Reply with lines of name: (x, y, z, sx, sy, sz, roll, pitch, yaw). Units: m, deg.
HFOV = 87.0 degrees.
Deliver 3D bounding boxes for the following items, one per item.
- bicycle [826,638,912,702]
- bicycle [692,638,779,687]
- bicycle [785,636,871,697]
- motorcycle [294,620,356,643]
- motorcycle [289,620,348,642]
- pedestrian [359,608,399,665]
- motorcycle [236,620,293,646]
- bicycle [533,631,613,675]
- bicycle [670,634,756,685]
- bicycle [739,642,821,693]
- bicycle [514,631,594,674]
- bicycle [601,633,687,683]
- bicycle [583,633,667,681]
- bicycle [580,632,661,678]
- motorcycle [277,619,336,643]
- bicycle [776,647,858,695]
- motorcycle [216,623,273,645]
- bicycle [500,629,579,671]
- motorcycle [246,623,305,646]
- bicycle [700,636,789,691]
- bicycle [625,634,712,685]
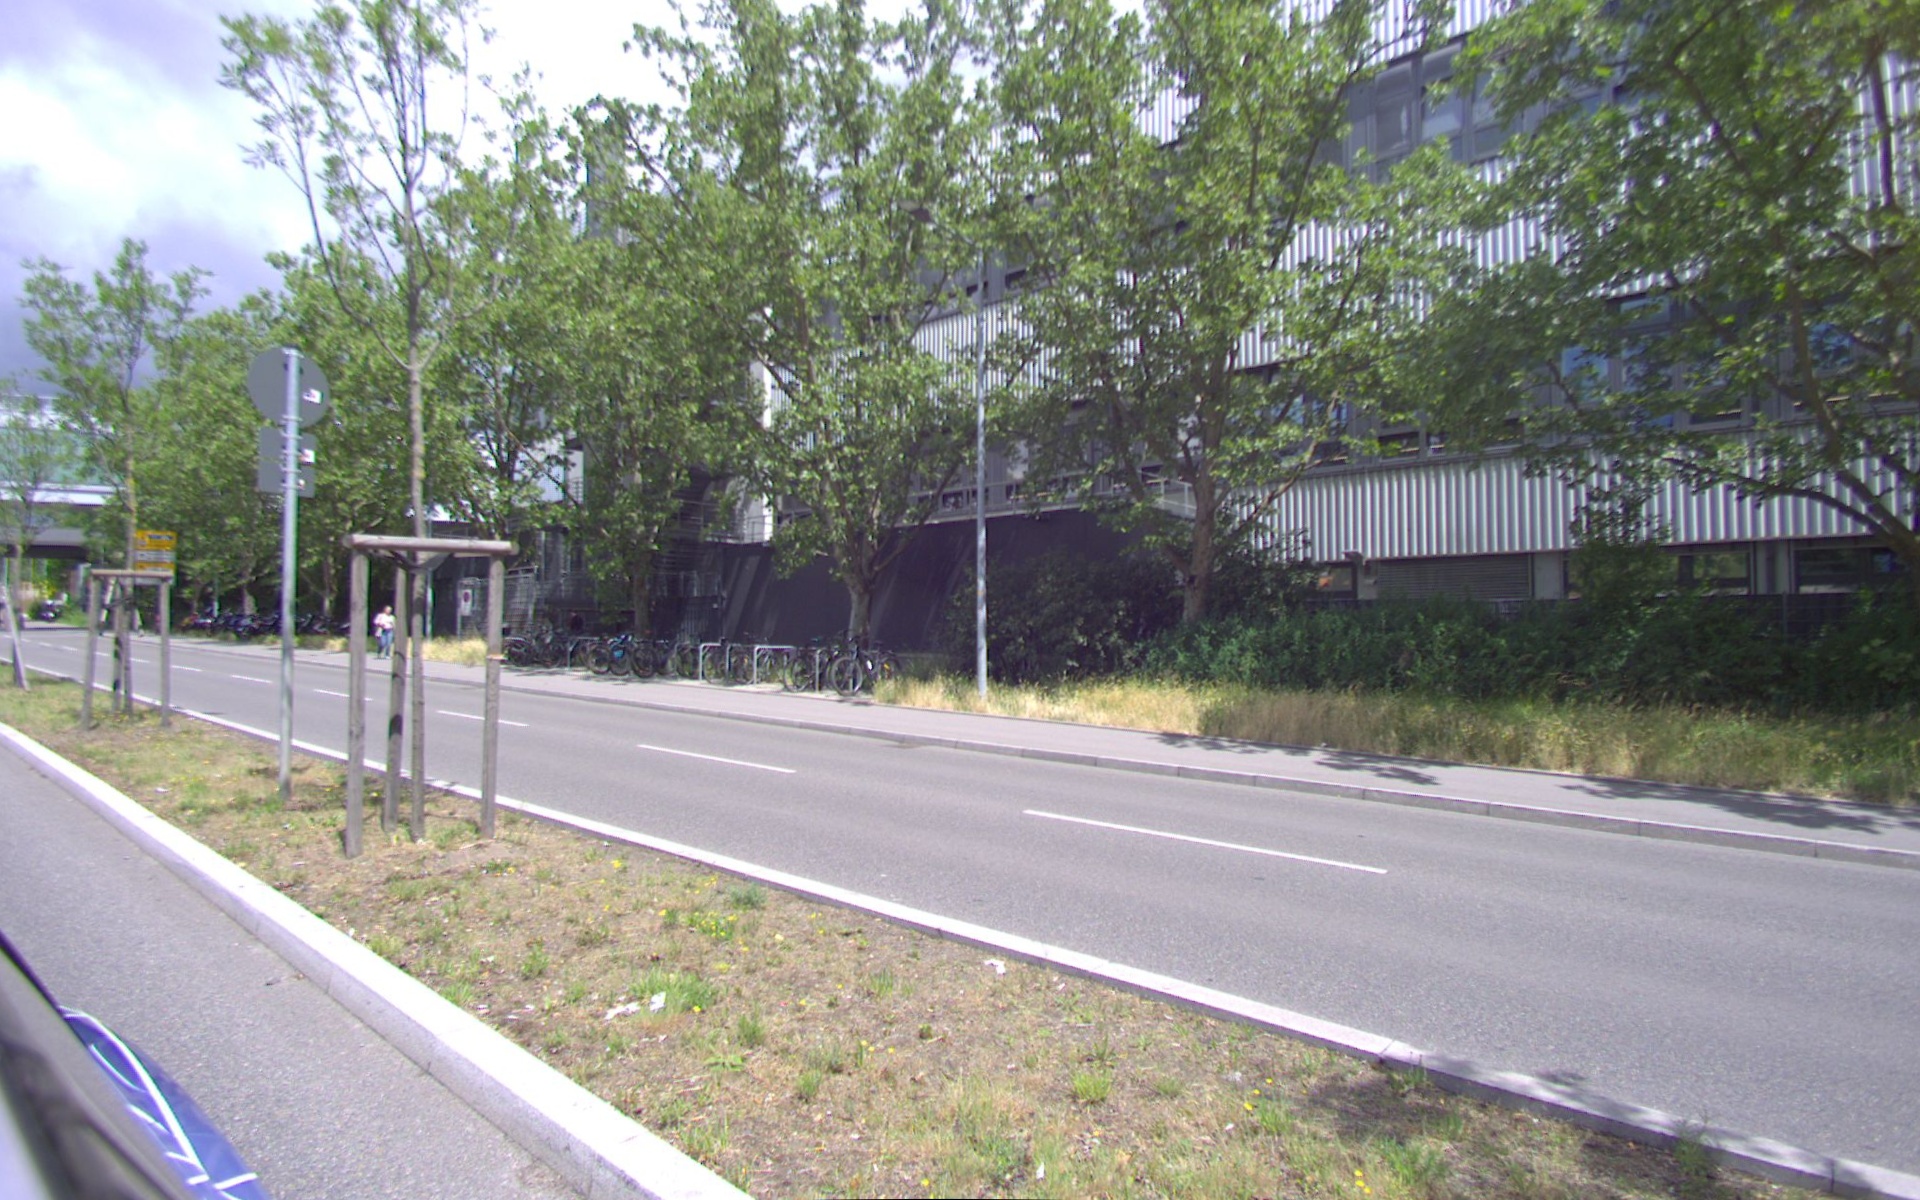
bicycle: (-1.736, 1.317, 19.520, 0.381, 1.137, 1.968, -1, -1, 39)
bicycle: (-5.136, 1.413, 23.263, 0.382, 1.038, 2.101, -1, -1, 43)
bicycle: (-2.614, 1.303, 20.243, 0.381, 1.137, 1.968, -1, -1, 39)
motorcycle: (-26.363, 1.284, 42.036, 0.534, 0.905, 2.105, -1, -1, 41)
motorcycle: (-27.589, 1.335, 43.542, 0.534, 0.892, 2.105, -1, -1, 41)
pedestrian: (-17.931, 1.115, 31.242, 0.672, 1.733, 0.888, -1, -2, 41)
motorcycle: (-31.614, 1.502, 46.027, 0.534, 1.146, 2.105, -1, -1, 41)
bicycle: (-10.549, 1.439, 27.670, 0.382, 1.119, 2.101, -1, -1, 43)
bicycle: (-5.804, 1.382, 23.878, 0.382, 1.119, 2.101, -1, -1, 43)
bicycle: (-3.864, 1.427, 21.832, 0.381, 1.005, 1.968, -1, -1, 39)
bicycle: (-11.293, 1.435, 28.219, 0.382, 1.119, 2.101, -1, -1, 43)
bicycle: (-7.725, 1.396, 24.796, 0.382, 1.119, 2.101, -1, -1, 43)
bicycle: (-8.381, 1.400, 25.394, 0.382, 1.119, 2.101, -1, -1, 43)
bicycle: (-8.870, 1.418, 26.544, 0.382, 1.119, 2.101, -1, -1, 43)
motorcycle: (-28.635, 1.353, 44.393, 0.534, 0.976, 2.105, -1, -1, 41)
bicycle: (-2.992, 1.480, 21.346, 0.381, 0.897, 1.968, -1, -1, 39)
motorcycle: (-33.107, 1.571, 46.849, 0.534, 0.976, 2.105, -1, -1, 41)
bicycle: (-11.934, 1.408, 28.765, 0.382, 1.119, 2.101, -1, -1, 43)
motorcycle: (-30.679, 1.525, 45.390, 0.534, 0.976, 2.105, -1, -1, 41)
bicycle: (-4.733, 1.377, 22.354, 0.382, 1.104, 2.101, -1, -1, 43)
bicycle: (-6.935, 1.396, 24.145, 0.382, 1.119, 2.101, -1, -1, 43)
